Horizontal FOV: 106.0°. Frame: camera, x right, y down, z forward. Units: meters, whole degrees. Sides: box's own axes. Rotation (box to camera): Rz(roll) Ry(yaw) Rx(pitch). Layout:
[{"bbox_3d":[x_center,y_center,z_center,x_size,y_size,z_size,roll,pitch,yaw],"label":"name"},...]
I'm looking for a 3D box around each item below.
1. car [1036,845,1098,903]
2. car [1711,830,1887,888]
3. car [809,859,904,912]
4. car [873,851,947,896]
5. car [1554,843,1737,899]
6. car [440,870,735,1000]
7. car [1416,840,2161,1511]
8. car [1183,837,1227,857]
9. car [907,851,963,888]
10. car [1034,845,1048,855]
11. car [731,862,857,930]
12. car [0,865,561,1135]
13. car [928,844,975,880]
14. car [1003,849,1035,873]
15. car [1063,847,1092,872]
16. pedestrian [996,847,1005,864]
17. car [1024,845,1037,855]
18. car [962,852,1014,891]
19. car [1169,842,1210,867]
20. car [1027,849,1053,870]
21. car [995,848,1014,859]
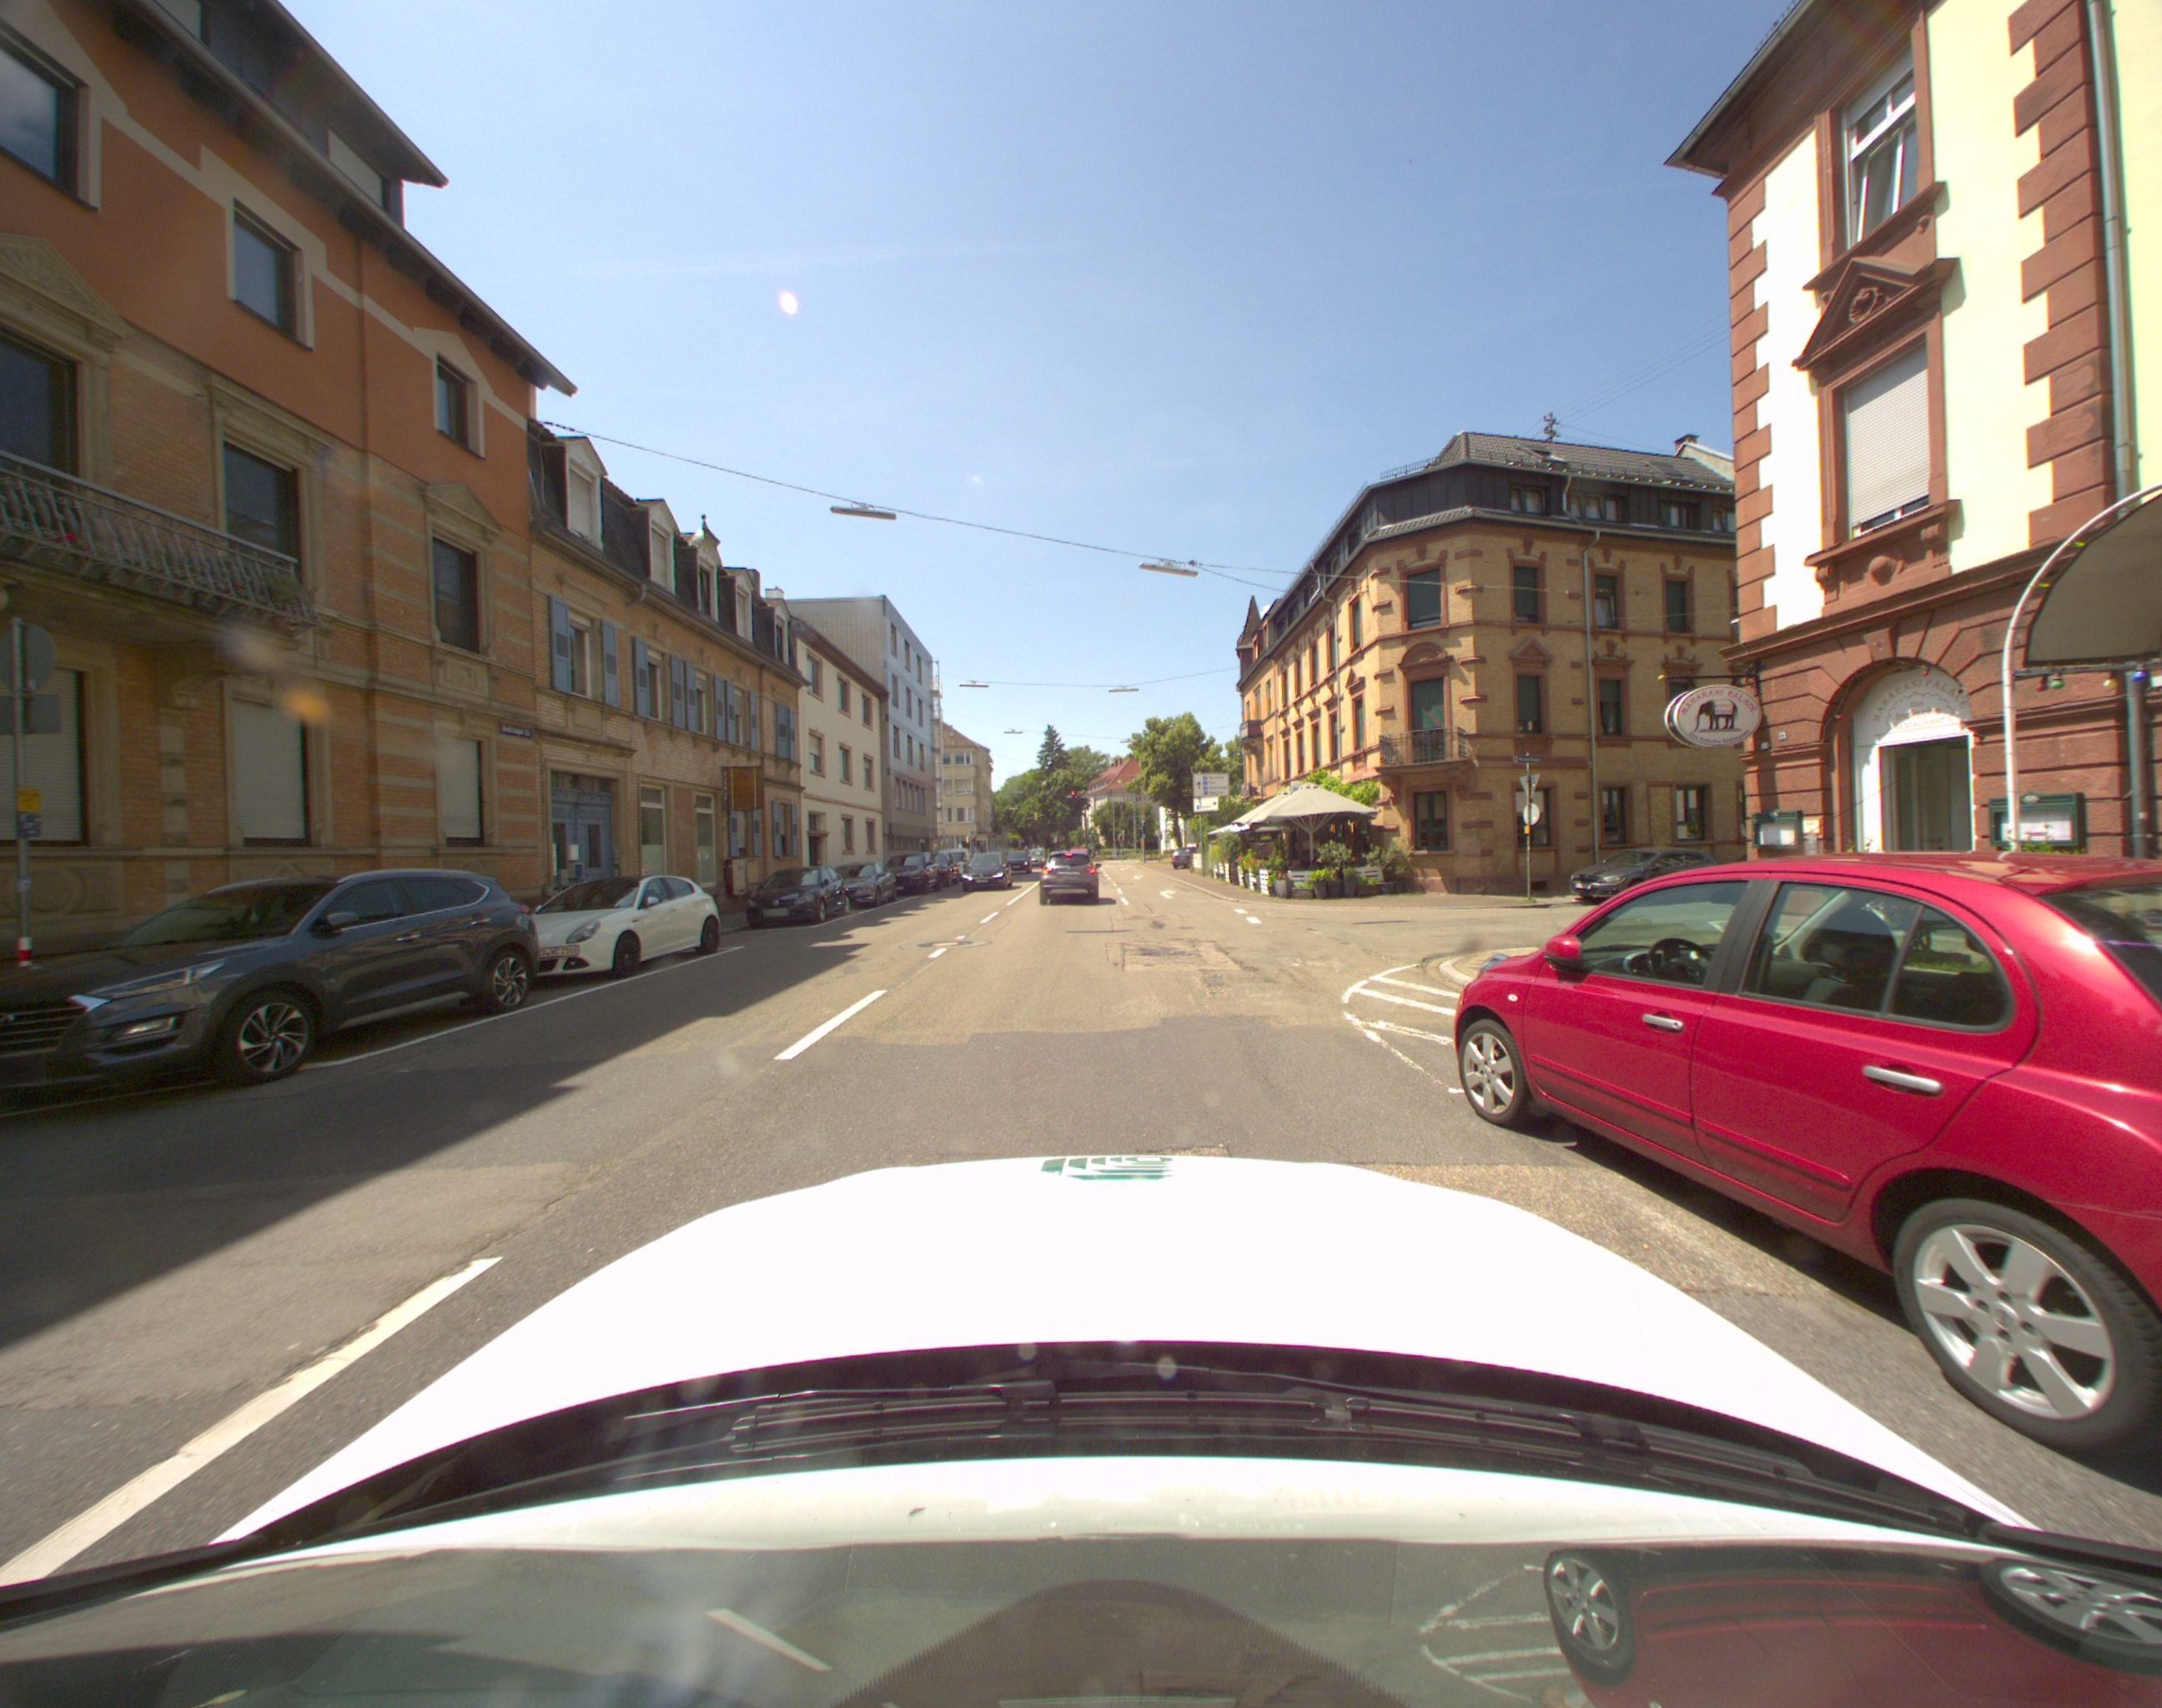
[{"bbox_3d":[-0.368,0.535,25.166,1.748,1.632,4.001,-1,1,1],"label":"car"},{"bbox_3d":[21.066,0.126,23.947,4.128,1.536,1.907,-1,1,-14],"label":"car"},{"bbox_3d":[-7.247,0.950,26.826,1.860,1.406,4.833,-5,0,-3],"label":"car"},{"bbox_3d":[-6.954,0.733,33.667,1.878,1.641,4.818,-3,0,1],"label":"car"},{"bbox_3d":[15.453,0.416,22.375,3.988,1.364,1.909,-1,1,-11],"label":"car"},{"bbox_3d":[-7.336,1.097,12.750,1.859,1.426,4.330,-5,0,0],"label":"car"},{"bbox_3d":[3.188,0.707,3.569,1.753,1.478,3.780,0,0,-3],"label":"car"},{"bbox_3d":[13.255,-0.737,87.010,4.522,1.977,1.978,-2,0,-36],"label":"car"},{"bbox_3d":[-7.062,0.698,39.819,1.879,1.641,4.660,-3,0,-1],"label":"car"},{"bbox_3d":[-7.371,-0.782,149.262,1.995,1.807,3.983,-1,1,-12],"label":"car"},{"bbox_3d":[-7.354,1.015,21.380,1.861,1.406,4.326,-5,0,-3],"label":"car"},{"bbox_3d":[-7.252,1.031,7.577,1.860,1.627,4.498,-5,0,-1],"label":"car"},{"bbox_3d":[-7.290,0.435,46.163,1.908,1.825,4.786,-3,0,-1],"label":"car"},{"bbox_3d":[-4.121,0.417,54.584,1.696,1.478,4.134,-2,0,1],"label":"car"},{"bbox_3d":[-0.216,0.353,52.983,1.792,1.557,4.038,0,0,1],"label":"car"},{"bbox_3d":[-9.097,0.153,92.215,0.936,1.931,0.973,-1,0,-12],"label":"pedestrian"},{"bbox_3d":[-10.084,-0.808,162.412,1.995,1.906,3.983,-1,1,-12],"label":"car"},{"bbox_3d":[-3.886,0.686,34.721,1.755,1.494,4.244,-2,0,-1],"label":"car"},{"bbox_3d":[7.822,0.024,58.291,1.819,1.548,5.183,-2,2,20],"label":"car"},{"bbox_3d":[-3.275,0.390,65.694,1.696,1.574,4.312,-2,0,1],"label":"car"},{"bbox_3d":[-10.189,-0.064,108.849,1.996,1.519,3.981,0,-1,-13],"label":"car"}]
